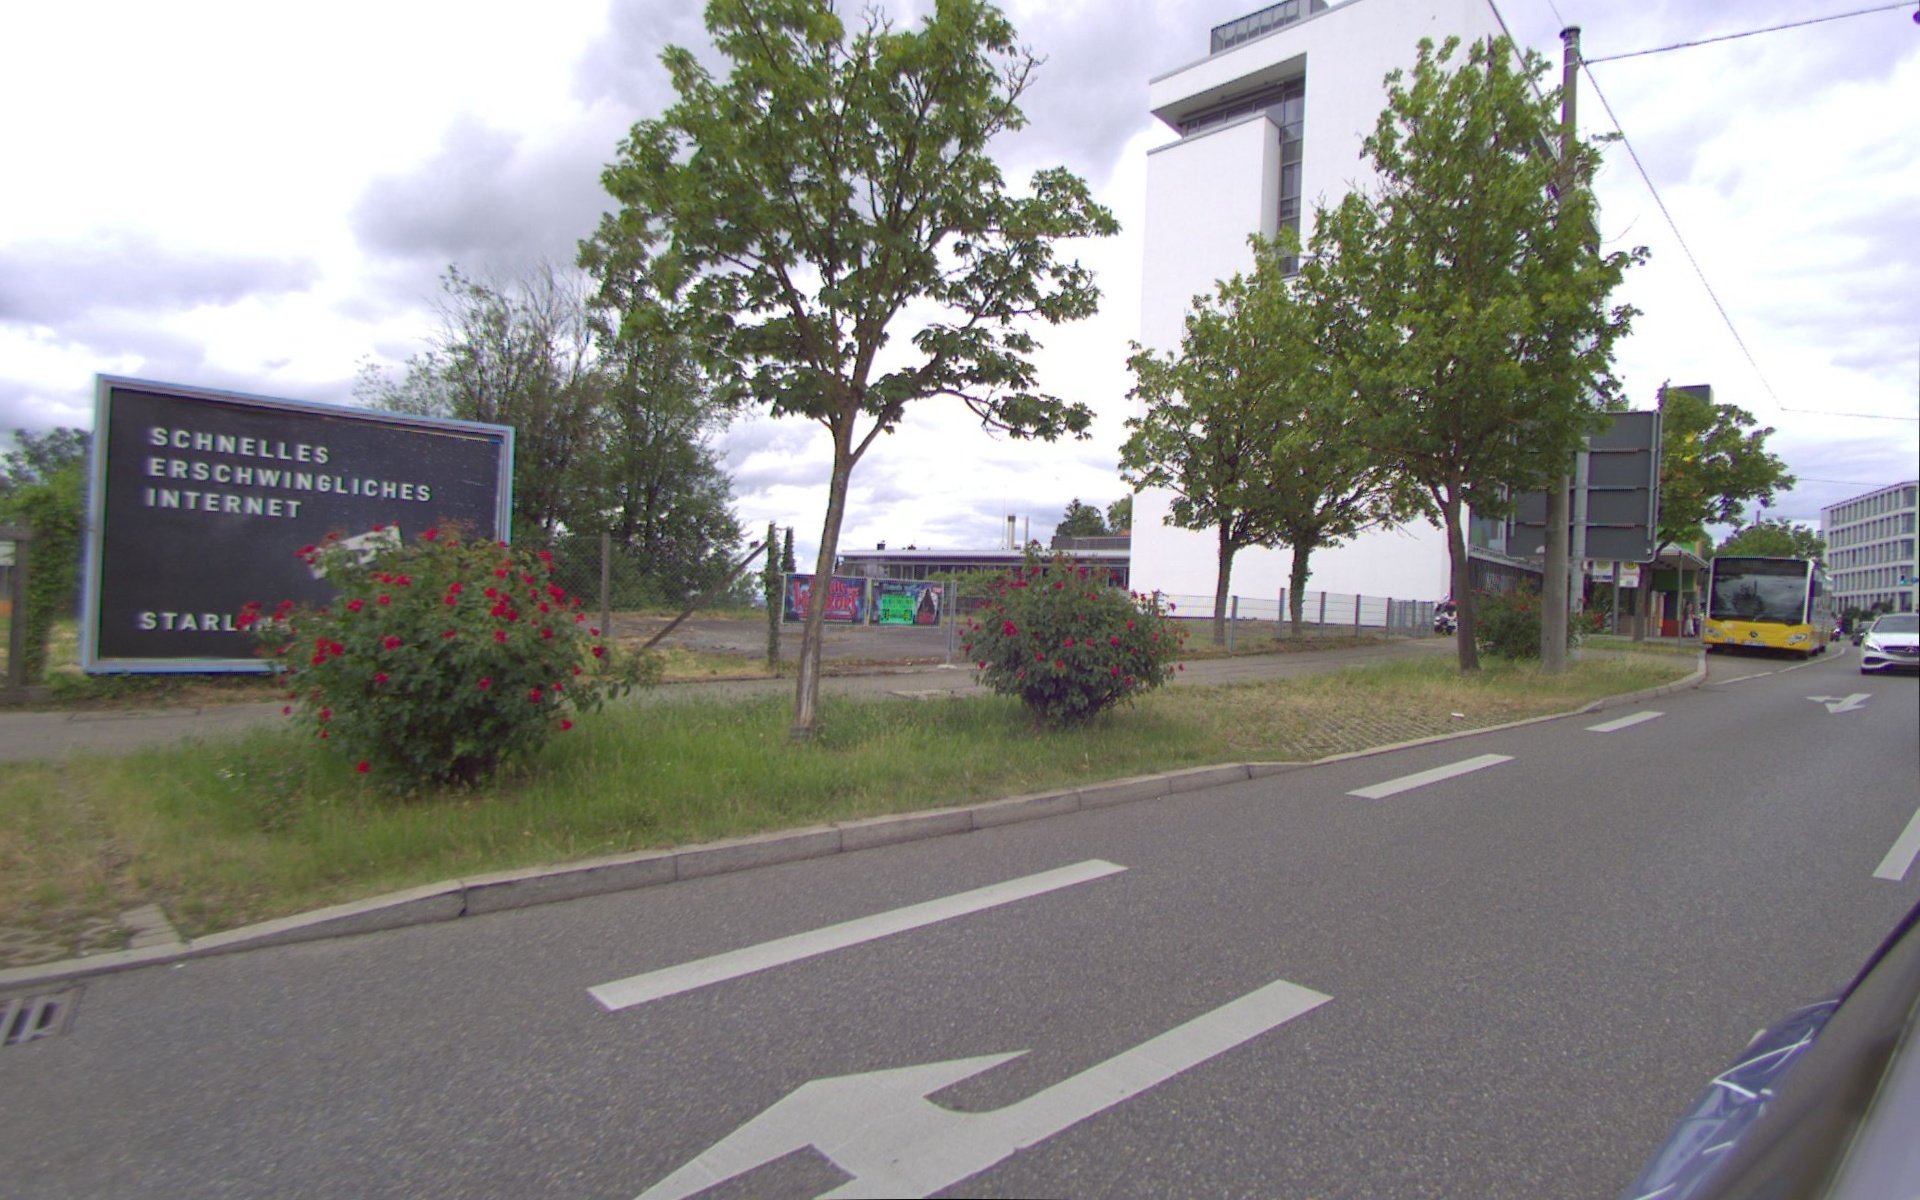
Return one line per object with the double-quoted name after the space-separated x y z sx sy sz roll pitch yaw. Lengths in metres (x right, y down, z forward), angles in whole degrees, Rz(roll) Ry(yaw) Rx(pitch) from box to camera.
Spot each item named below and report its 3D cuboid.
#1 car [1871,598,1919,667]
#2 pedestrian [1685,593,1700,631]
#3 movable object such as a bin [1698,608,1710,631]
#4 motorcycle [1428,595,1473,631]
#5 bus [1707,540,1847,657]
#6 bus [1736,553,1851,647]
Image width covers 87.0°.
22.929 0.758 24.063 1.867 1.524 4.700 2 1 42 "car"
34.406 0.557 47.519 0.508 1.757 0.564 1 0 41 "pedestrian"
34.839 0.920 47.382 0.419 1.042 0.525 2 0 41 "movable object such as a bin"
16.222 0.419 33.508 0.811 1.129 1.737 2 1 9 "motorcycle"
26.802 -0.083 32.991 2.981 3.281 9.714 2 1 42 "bus"
32.857 -0.008 39.738 3.035 3.276 9.196 3 1 42 "bus"
